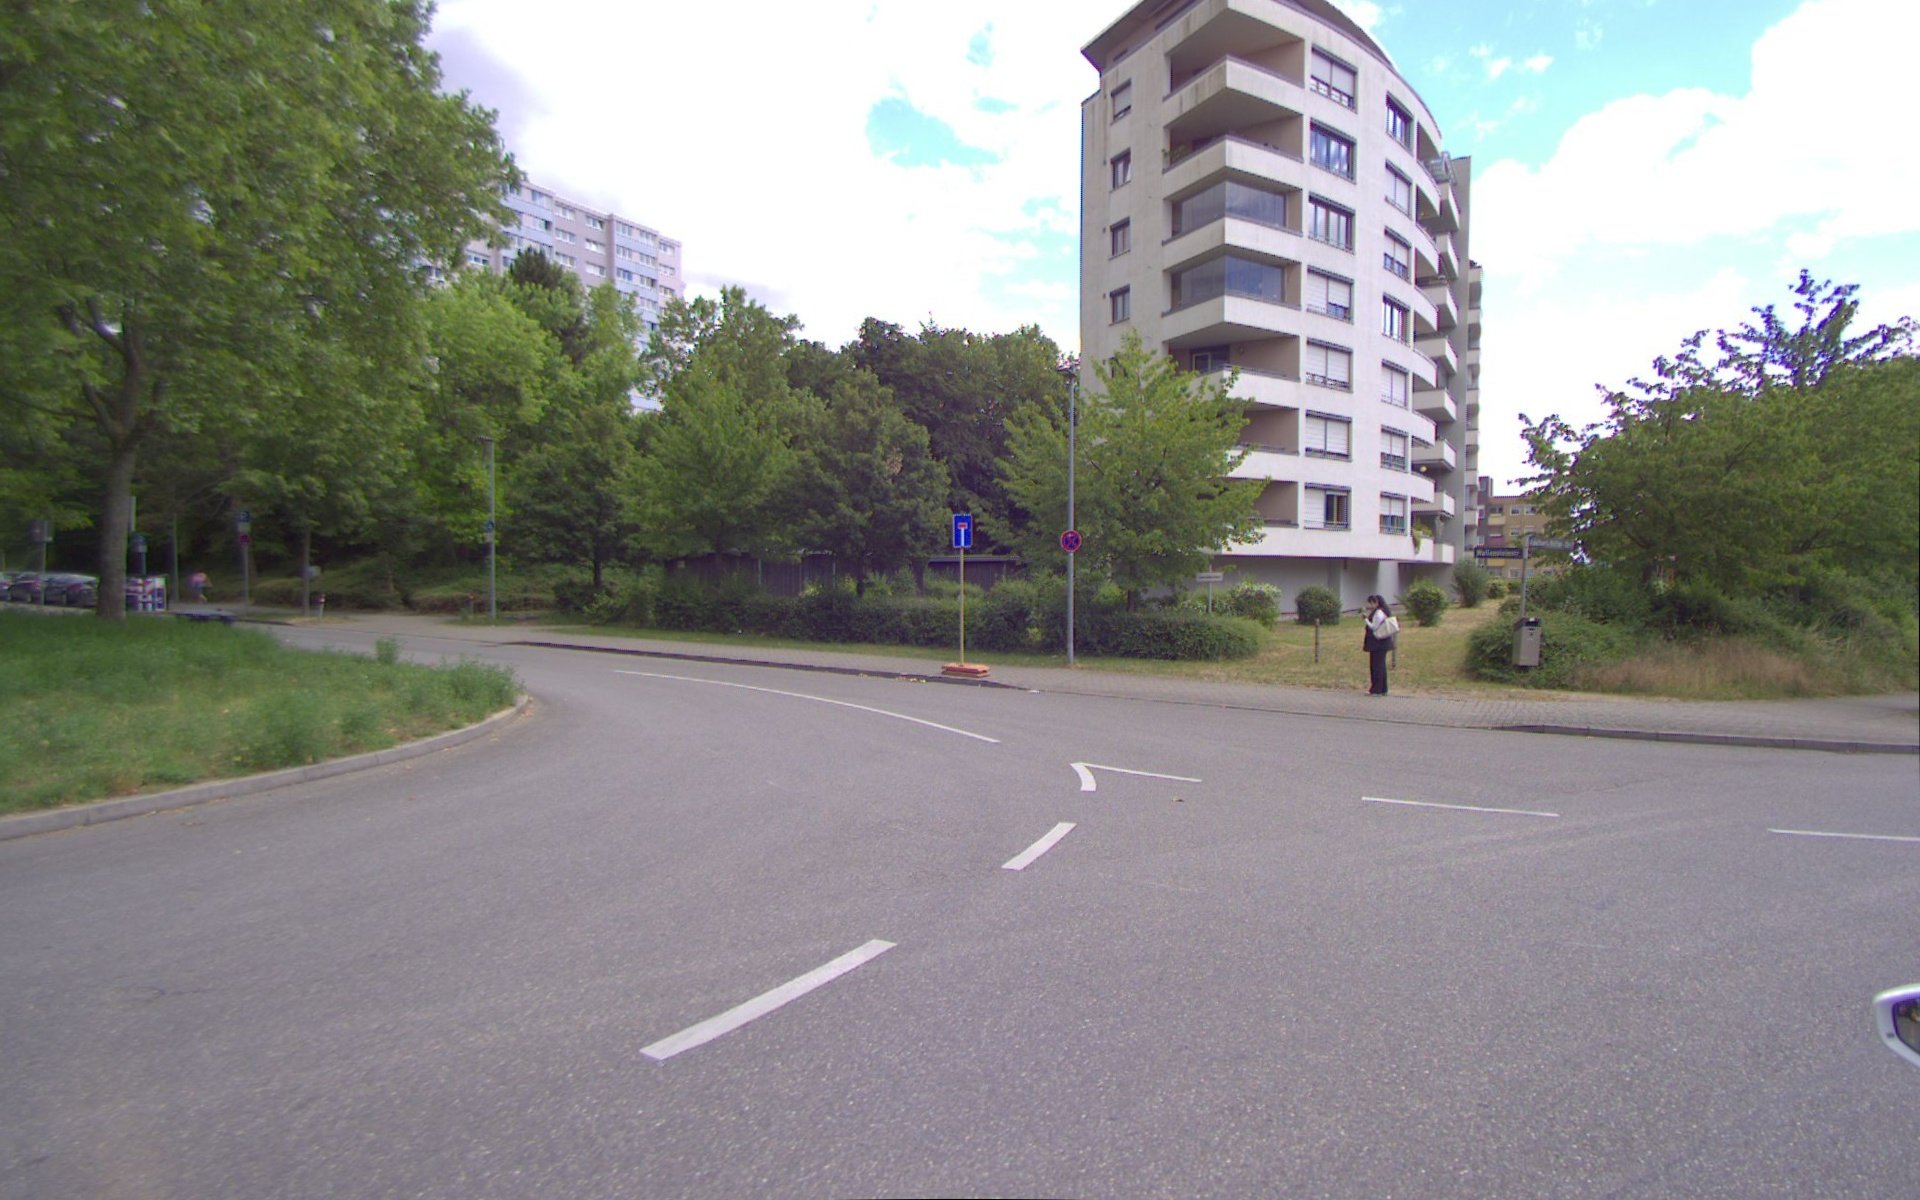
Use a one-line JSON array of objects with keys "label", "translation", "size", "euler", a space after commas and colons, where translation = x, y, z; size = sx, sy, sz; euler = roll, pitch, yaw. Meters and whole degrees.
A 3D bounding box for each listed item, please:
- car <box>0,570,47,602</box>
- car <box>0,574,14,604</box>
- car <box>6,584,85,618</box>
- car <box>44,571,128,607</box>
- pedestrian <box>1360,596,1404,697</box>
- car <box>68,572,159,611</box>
[{"label": "car", "translation": [-46.675, -0.684, 49.348], "size": [3.610, 1.506, 1.778], "euler": [1, 0, 32]}, {"label": "car", "translation": [-50.802, -0.607, 52.002], "size": [3.610, 1.506, 1.778], "euler": [1, 0, 32]}, {"label": "car", "translation": [-42.680, 0.052, 46.865], "size": [3.610, 1.506, 1.778], "euler": [1, 0, 32]}, {"label": "car", "translation": [-38.483, -0.502, 44.206], "size": [3.610, 1.506, 1.778], "euler": [1, 0, 32]}, {"label": "pedestrian", "translation": [7.044, 0.753, 16.786], "size": [0.621, 1.633, 0.719], "euler": [0, 2, 20]}, {"label": "car", "translation": [-34.381, -0.338, 40.782], "size": [3.610, 1.506, 1.778], "euler": [1, 0, 32]}]
